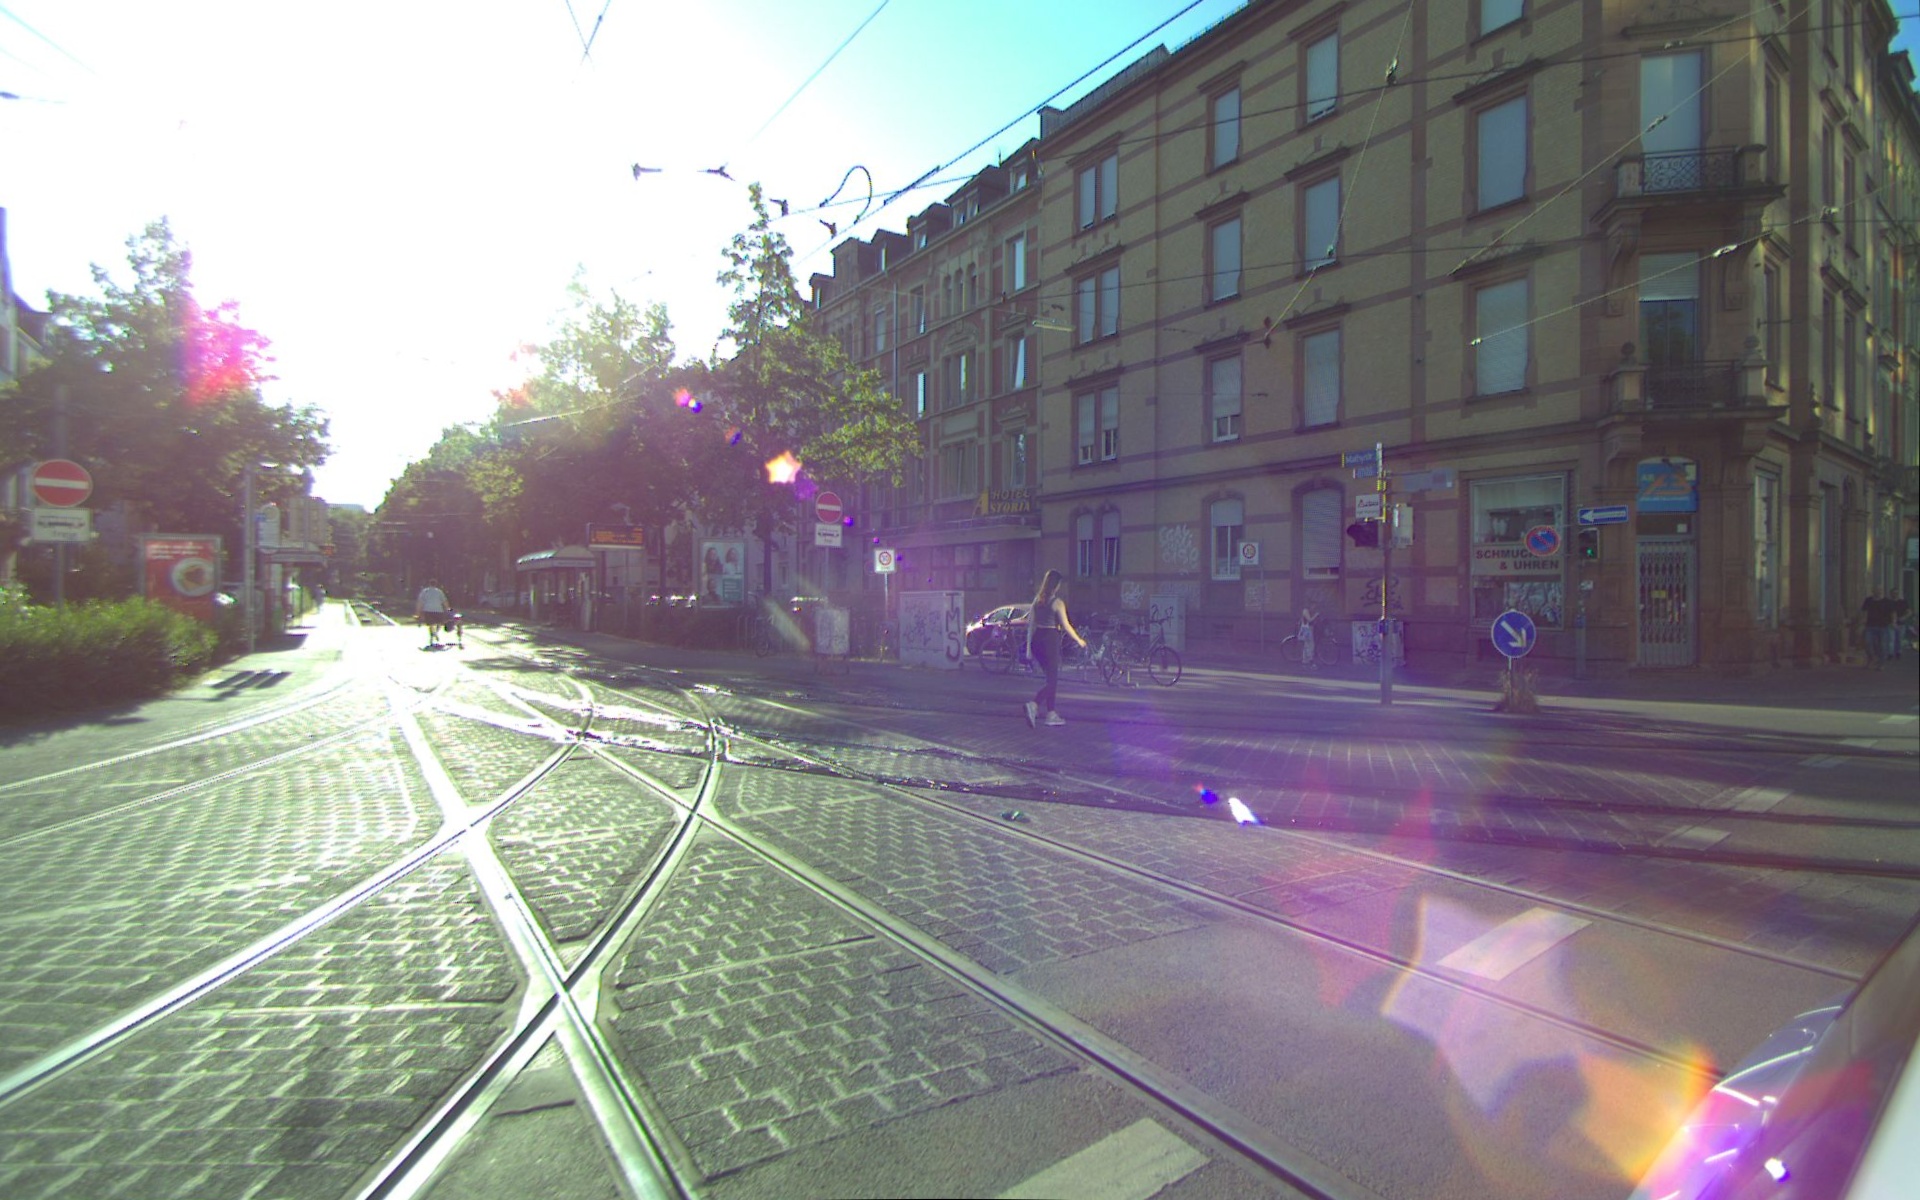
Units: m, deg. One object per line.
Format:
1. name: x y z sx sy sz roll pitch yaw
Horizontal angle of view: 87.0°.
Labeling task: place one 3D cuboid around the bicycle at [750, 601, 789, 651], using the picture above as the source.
1. bicycle: -4.634 0.620 24.716 0.491 1.121 1.799 -2 1 2

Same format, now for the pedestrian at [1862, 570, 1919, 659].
1. pedestrian: 18.922 0.275 20.571 0.741 1.744 0.777 -2 2 -39

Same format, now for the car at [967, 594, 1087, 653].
1. car: 1.799 0.633 28.228 1.663 1.514 3.583 -1 0 -29

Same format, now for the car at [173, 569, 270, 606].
1. car: -43.566 -0.765 59.790 4.191 1.949 1.945 -3 1 -1

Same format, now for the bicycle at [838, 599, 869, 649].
1. bicycle: -2.582 0.562 24.358 0.490 1.121 1.804 -2 1 -13

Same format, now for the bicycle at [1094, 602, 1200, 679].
1. bicycle: 3.271 0.702 17.628 1.800 1.279 0.756 2 -2 -35

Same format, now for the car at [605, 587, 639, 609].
1. car: -25.467 -0.115 76.149 1.664 1.534 3.582 -1 0 -30

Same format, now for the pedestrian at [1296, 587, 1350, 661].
1. pedestrian: 8.382 0.545 23.365 0.749 1.589 0.745 -7 2 -33

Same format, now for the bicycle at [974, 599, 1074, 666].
1. bicycle: 1.290 0.655 20.242 1.930 1.279 0.756 2 -2 -35

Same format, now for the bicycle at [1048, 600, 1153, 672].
1. bicycle: 2.640 0.676 18.892 1.930 1.279 0.756 2 -2 -35

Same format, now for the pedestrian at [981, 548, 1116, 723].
1. pedestrian: 0.985 0.359 11.318 1.065 1.829 1.024 -2 1 -43

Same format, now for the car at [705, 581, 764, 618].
1. car: -11.971 -0.023 53.493 1.937 1.841 3.985 0 0 -30

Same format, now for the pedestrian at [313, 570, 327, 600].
1. pedestrian: -39.008 -0.907 61.654 0.669 1.853 0.607 0 0 -28

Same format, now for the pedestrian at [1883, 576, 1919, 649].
1. pedestrian: 23.152 0.287 24.736 0.741 1.744 0.777 -2 2 -39

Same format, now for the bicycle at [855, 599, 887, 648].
1. bicycle: -2.161 0.547 24.466 0.490 1.121 1.804 -2 1 -13

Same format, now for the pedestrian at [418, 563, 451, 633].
1. pedestrian: -15.606 -0.062 30.042 0.847 2.039 0.607 0 0 -28

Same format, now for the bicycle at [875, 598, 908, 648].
1. bicycle: -1.688 0.537 24.587 0.490 1.121 1.804 -2 1 -13
